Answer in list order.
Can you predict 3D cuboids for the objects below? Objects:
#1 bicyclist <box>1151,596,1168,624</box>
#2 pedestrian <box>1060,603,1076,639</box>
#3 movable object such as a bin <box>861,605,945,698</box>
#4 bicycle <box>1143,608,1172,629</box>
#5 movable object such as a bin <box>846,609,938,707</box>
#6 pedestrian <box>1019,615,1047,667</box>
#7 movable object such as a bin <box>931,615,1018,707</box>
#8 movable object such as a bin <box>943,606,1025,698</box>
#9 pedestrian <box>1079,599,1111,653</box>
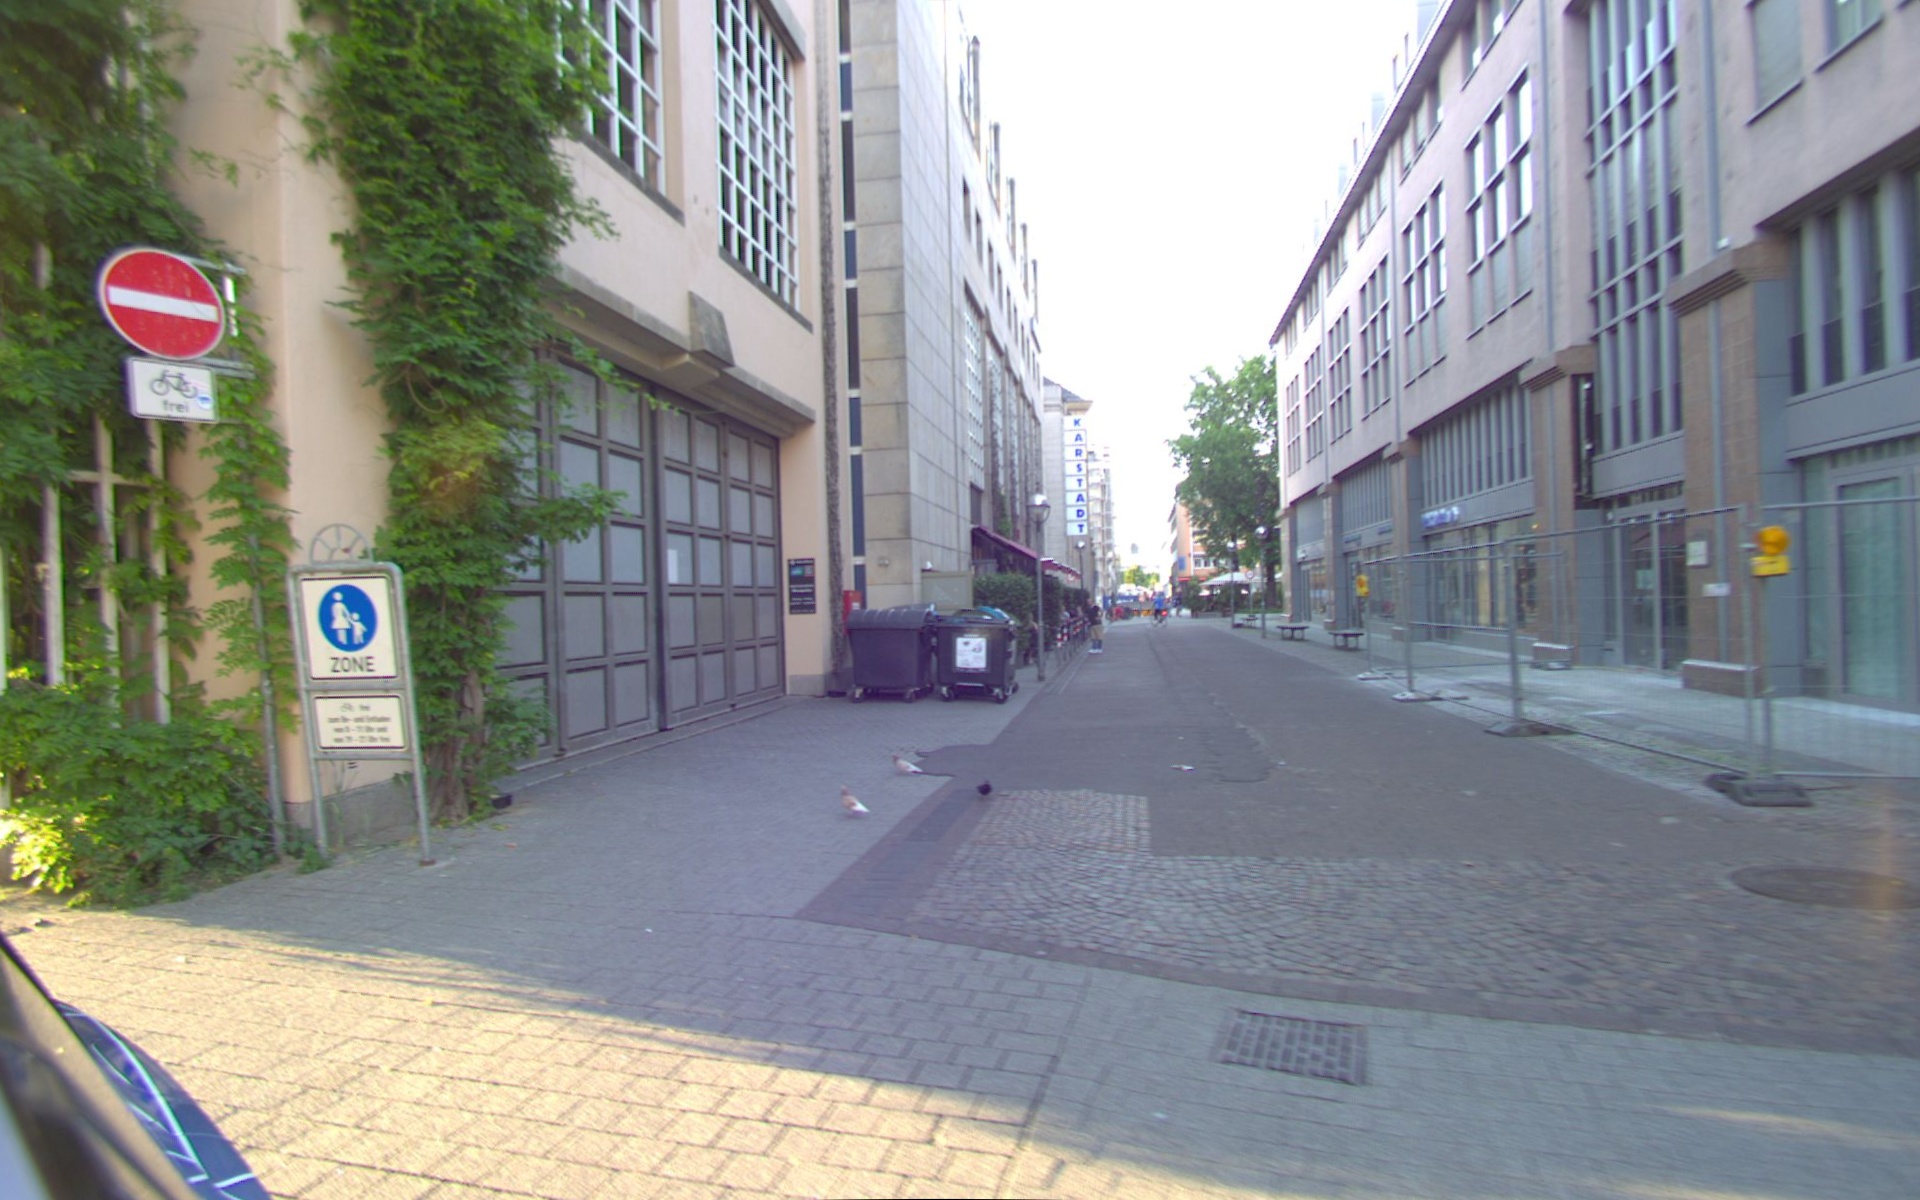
[{"bbox_3d":[10.149,0.521,51.454,0.579,1.419,0.634,-1,-1,-18],"label":"bicyclist"},{"bbox_3d":[4.250,0.829,39.905,0.582,1.419,0.631,-1,-1,9],"label":"pedestrian"},{"bbox_3d":[-0.938,0.833,16.981,1.218,1.499,1.166,0,0,8],"label":"movable object such as a bin"},{"bbox_3d":[10.080,0.929,51.667,0.535,1.059,1.955,-1,-1,-19],"label":"bicycle"},{"bbox_3d":[-1.040,0.871,15.768,1.218,1.448,1.166,0,0,8],"label":"movable object such as a bin"},{"bbox_3d":[1.762,0.977,24.353,0.582,1.210,0.631,-1,-1,9],"label":"pedestrian"},{"bbox_3d":[0.252,0.929,15.944,1.218,1.340,1.166,1,0,8],"label":"movable object such as a bin"},{"bbox_3d":[0.427,0.852,17.209,1.262,1.478,1.166,1,0,8],"label":"movable object such as a bin"},{"bbox_3d":[4.029,0.767,30.100,0.694,1.599,0.713,-2,-1,30],"label":"pedestrian"}]
